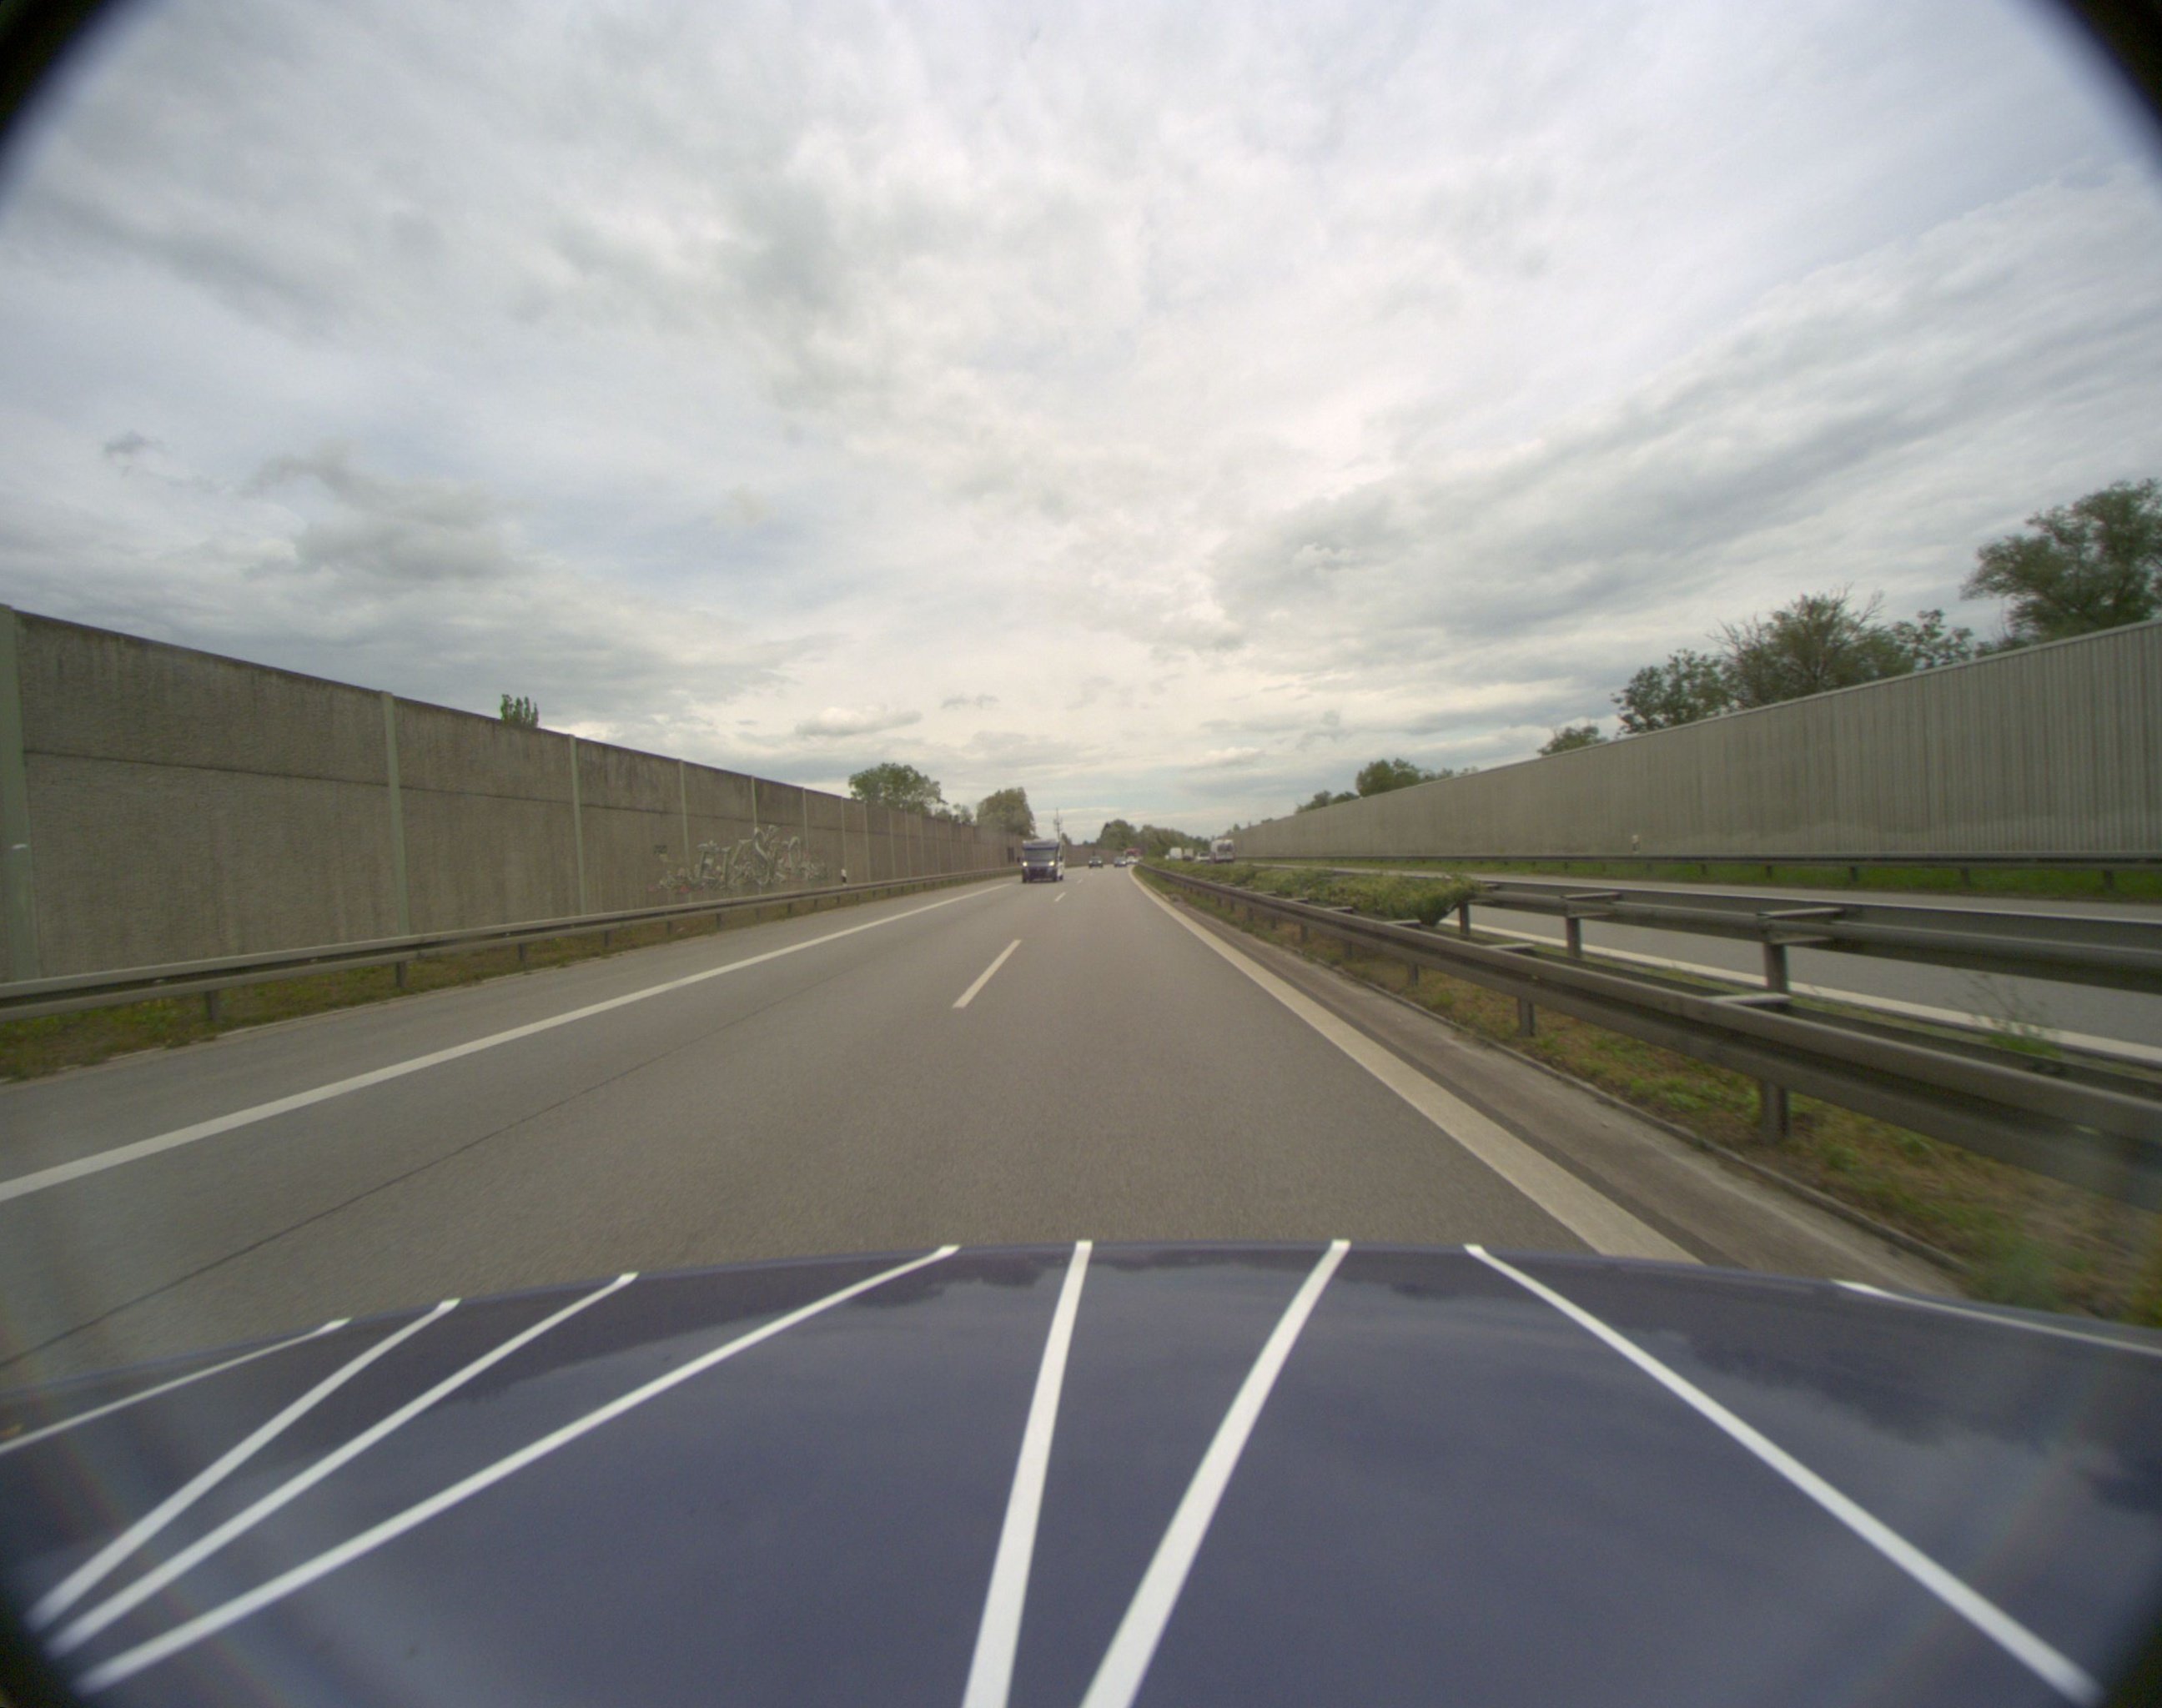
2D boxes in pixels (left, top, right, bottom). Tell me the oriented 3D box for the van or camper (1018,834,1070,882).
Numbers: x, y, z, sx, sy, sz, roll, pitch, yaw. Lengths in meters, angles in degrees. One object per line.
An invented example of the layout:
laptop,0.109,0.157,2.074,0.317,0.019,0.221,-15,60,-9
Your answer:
van or camper,-2.217,0.251,47.908,2.435,2.680,7.227,-2,0,3

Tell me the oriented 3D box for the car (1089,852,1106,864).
car,2.321,0.618,106.580,1.888,1.608,4.002,-1,0,7

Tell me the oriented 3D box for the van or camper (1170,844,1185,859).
van or camper,16.893,-0.419,132.855,1.998,2.427,6.310,-1,0,2

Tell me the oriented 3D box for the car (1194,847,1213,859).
car,15.513,-0.145,96.358,1.869,1.395,4.500,-1,0,3

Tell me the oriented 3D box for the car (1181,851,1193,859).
car,20.053,0.127,143.998,1.998,1.356,4.969,-2,0,4

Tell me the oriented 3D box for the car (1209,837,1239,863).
car,14.078,-0.385,75.190,2.116,2.441,5.684,-1,0,3

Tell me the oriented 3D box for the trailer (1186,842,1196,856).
trailer,36.026,-1.523,248.902,2.987,4.215,14.188,-2,0,8

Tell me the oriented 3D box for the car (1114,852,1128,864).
car,5.823,0.553,109.715,1.888,1.608,4.002,-1,0,6

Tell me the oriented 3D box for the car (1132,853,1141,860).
car,13.494,0.679,185.921,1.888,1.608,4.002,-1,0,8

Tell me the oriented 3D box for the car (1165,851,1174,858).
car,19.484,0.110,167.487,1.809,1.406,4.969,-2,0,4

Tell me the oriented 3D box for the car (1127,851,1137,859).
car,10.388,0.275,154.419,1.889,1.608,4.001,-1,0,3
